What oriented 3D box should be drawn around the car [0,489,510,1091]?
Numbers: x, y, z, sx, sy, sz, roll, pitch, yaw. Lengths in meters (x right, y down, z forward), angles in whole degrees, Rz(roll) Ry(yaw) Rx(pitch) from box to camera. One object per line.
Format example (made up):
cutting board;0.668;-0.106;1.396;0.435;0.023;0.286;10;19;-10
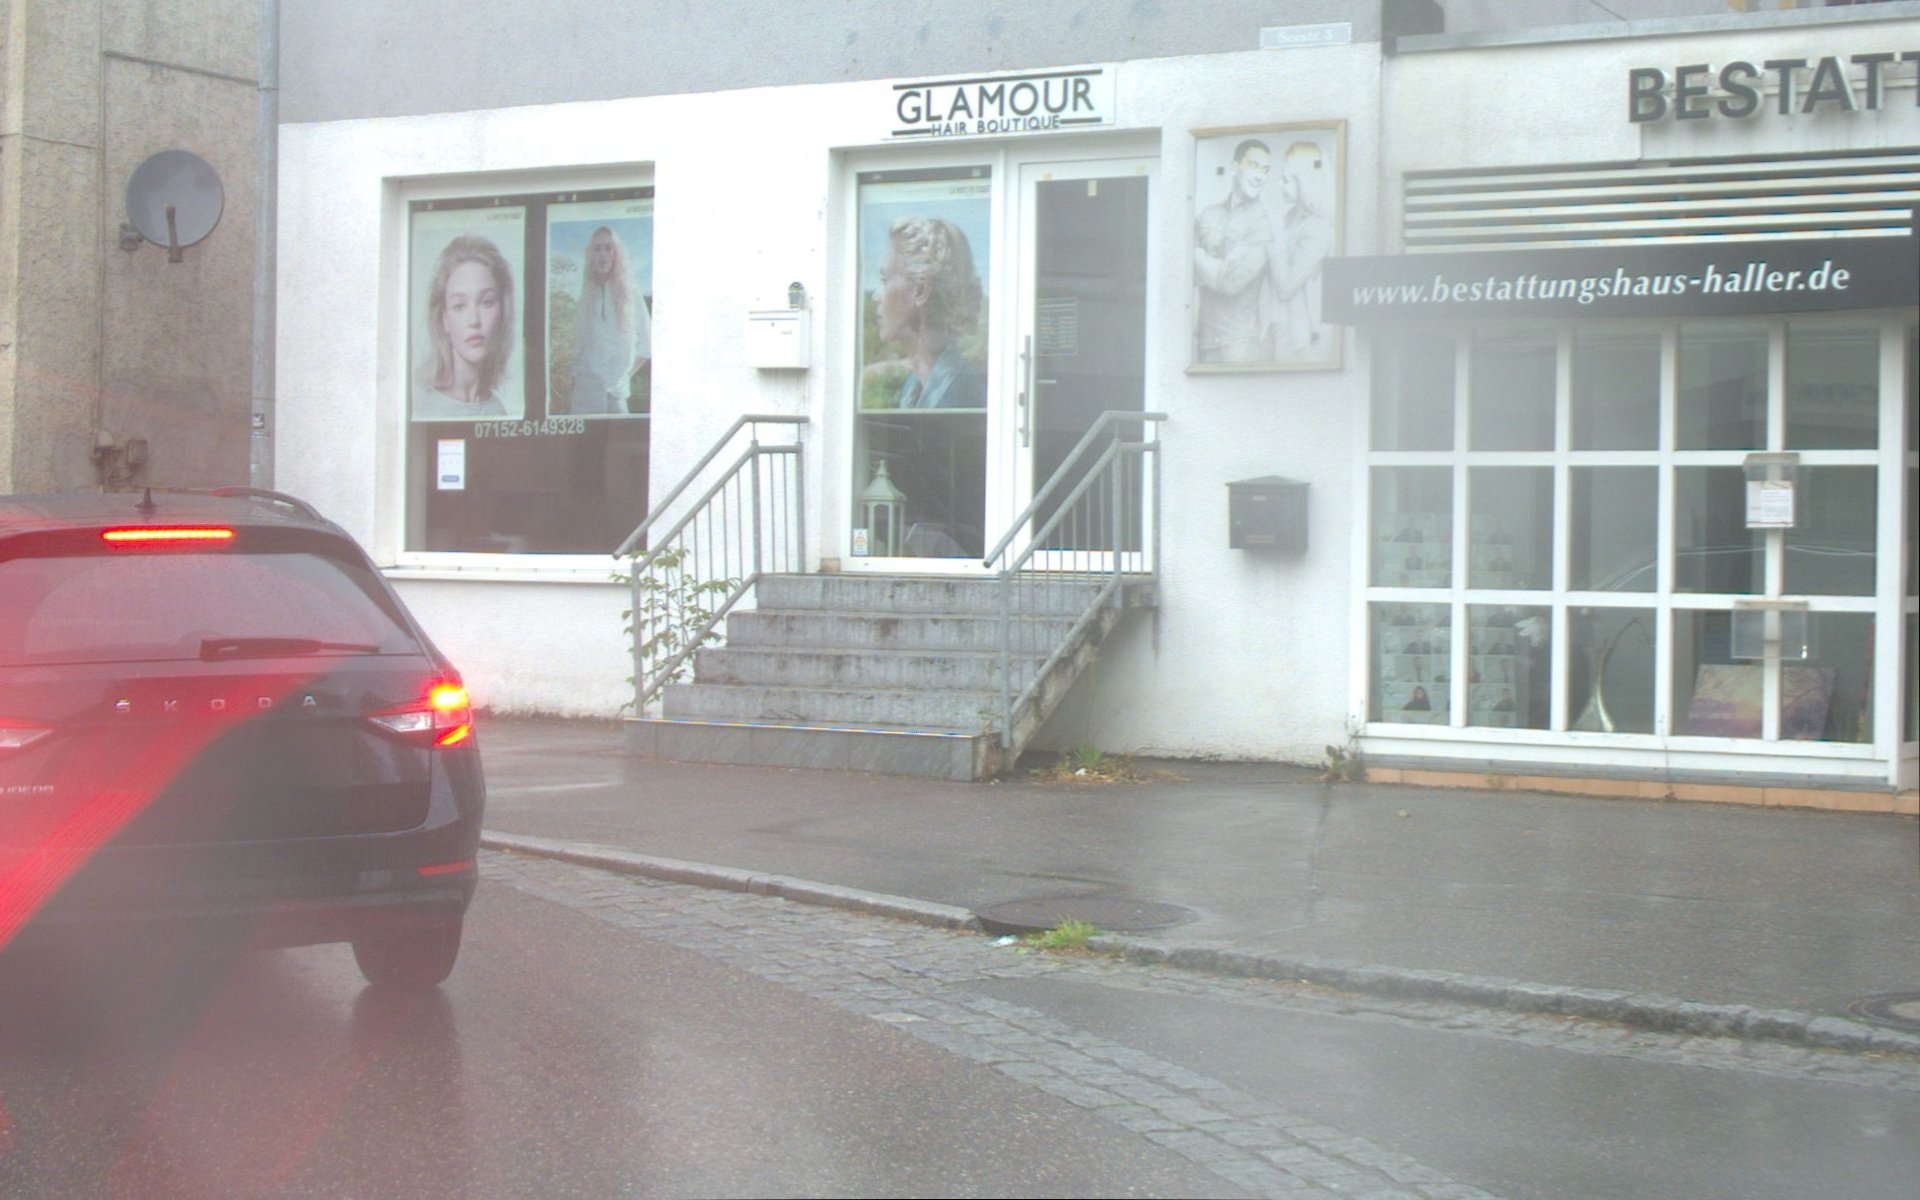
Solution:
car;-2.878;0.415;10.809;1.732;1.445;4.242;-1;3;-24
